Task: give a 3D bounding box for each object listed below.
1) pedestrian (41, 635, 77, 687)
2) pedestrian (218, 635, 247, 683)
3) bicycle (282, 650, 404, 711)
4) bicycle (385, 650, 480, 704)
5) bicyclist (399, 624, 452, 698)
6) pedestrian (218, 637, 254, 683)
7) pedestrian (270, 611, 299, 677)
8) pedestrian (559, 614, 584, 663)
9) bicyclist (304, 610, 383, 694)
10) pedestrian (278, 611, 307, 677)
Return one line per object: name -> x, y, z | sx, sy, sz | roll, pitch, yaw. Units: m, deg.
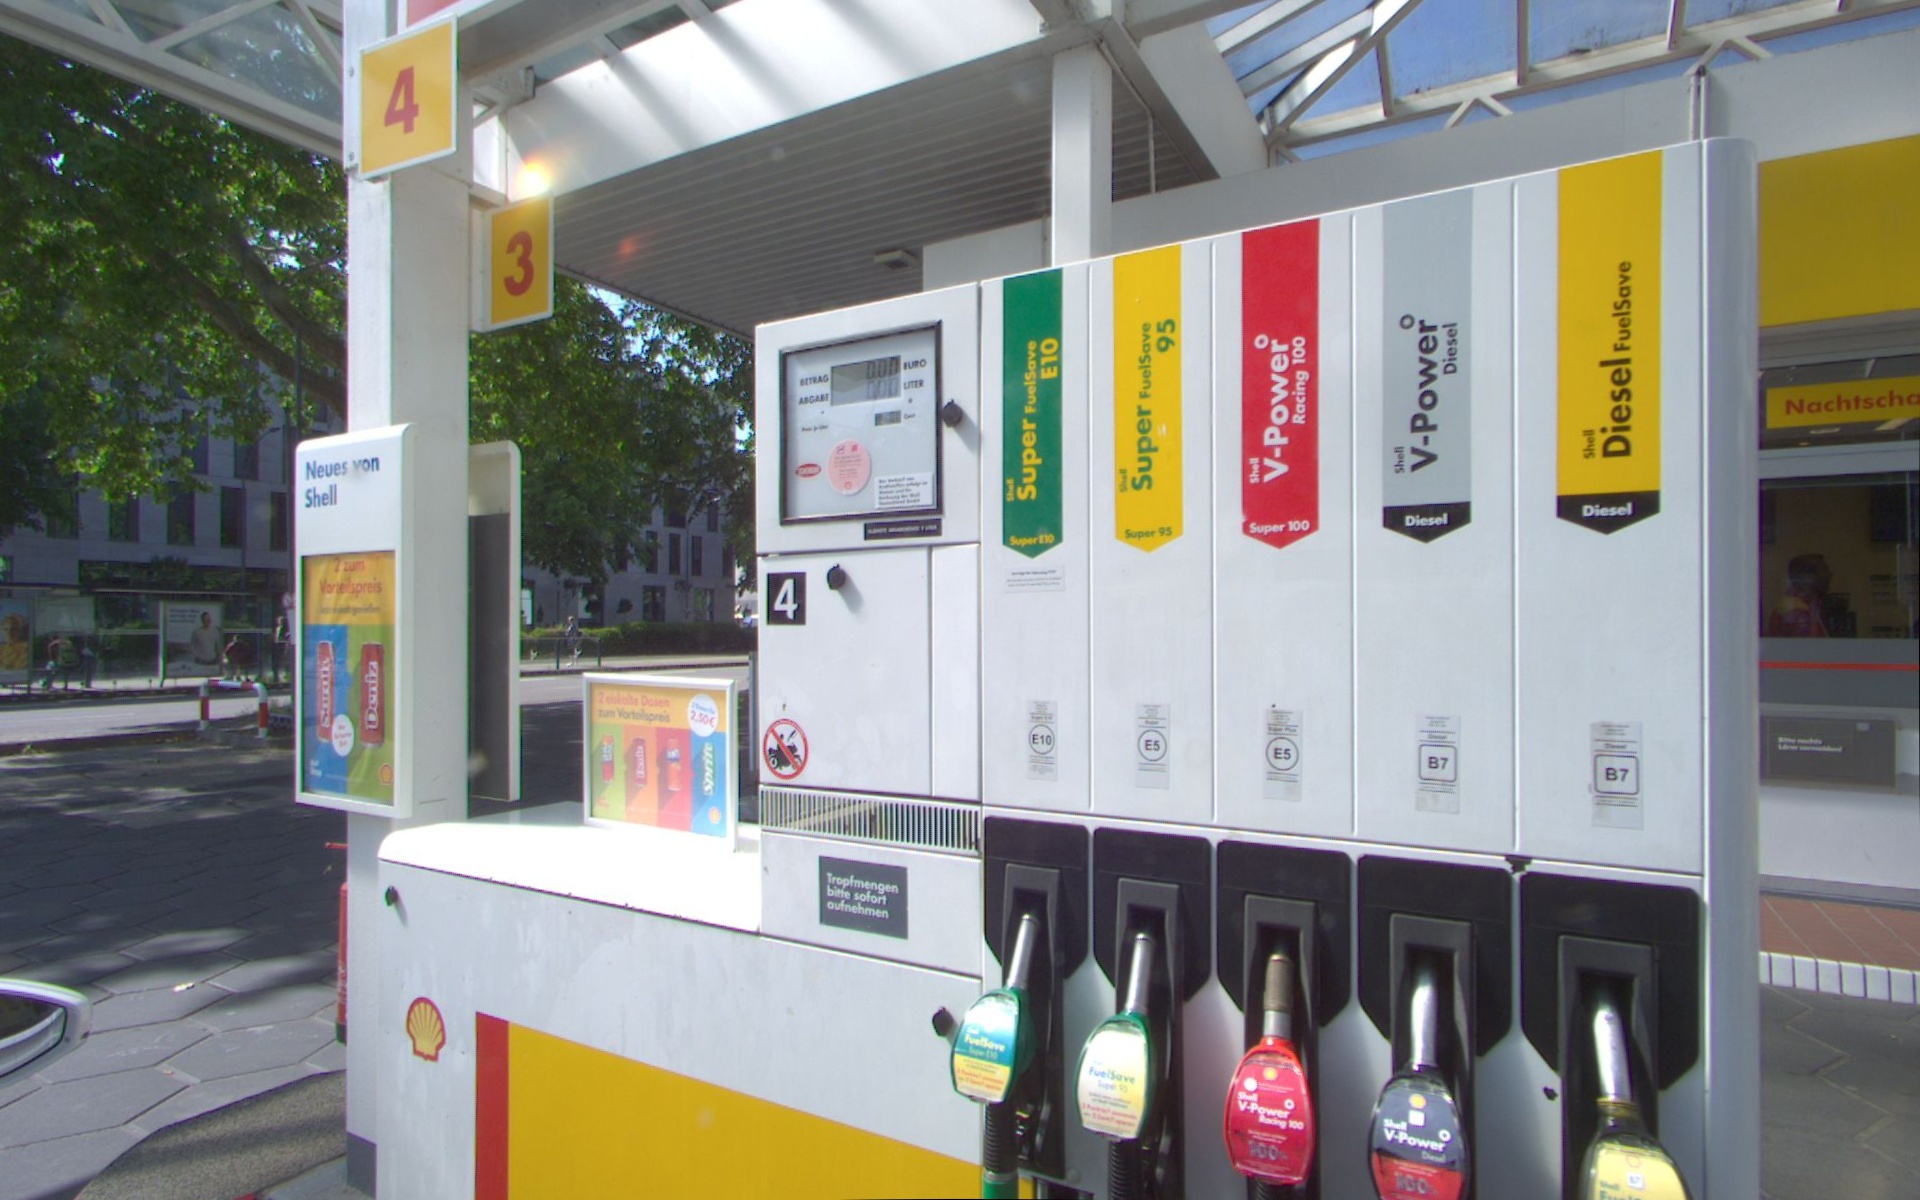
pedestrian -> -20.581, 1.385, 22.874 | 0.517, 1.152, 0.497 | 0, -1, 37
pedestrian -> -18.938, 1.533, 26.063 | 0.400, 1.236, 0.498 | 0, -1, 33
bicycle -> -12.122, 1.552, 19.751 | 0.630, 1.096, 2.019 | 0, -1, 27
bicycle -> -11.523, 1.666, 21.915 | 0.517, 1.096, 1.860 | 0, -1, 29
bicyclist -> -11.602, 1.318, 21.747 | 0.526, 1.563, 0.862 | -1, -1, 28
pedestrian -> -18.843, 1.548, 26.049 | 0.517, 1.152, 0.626 | 0, -1, 36
pedestrian -> -19.154, 1.237, 28.385 | 0.517, 1.849, 0.498 | 0, -1, 33
pedestrian -> -14.174, 1.397, 36.539 | 0.689, 1.758, 0.498 | 1, -1, -44
bicyclist -> -12.142, 1.001, 19.736 | 0.629, 1.600, 1.169 | 0, -1, 26
pedestrian -> -18.087, 1.189, 27.132 | 0.517, 1.758, 0.498 | 0, -1, 33
